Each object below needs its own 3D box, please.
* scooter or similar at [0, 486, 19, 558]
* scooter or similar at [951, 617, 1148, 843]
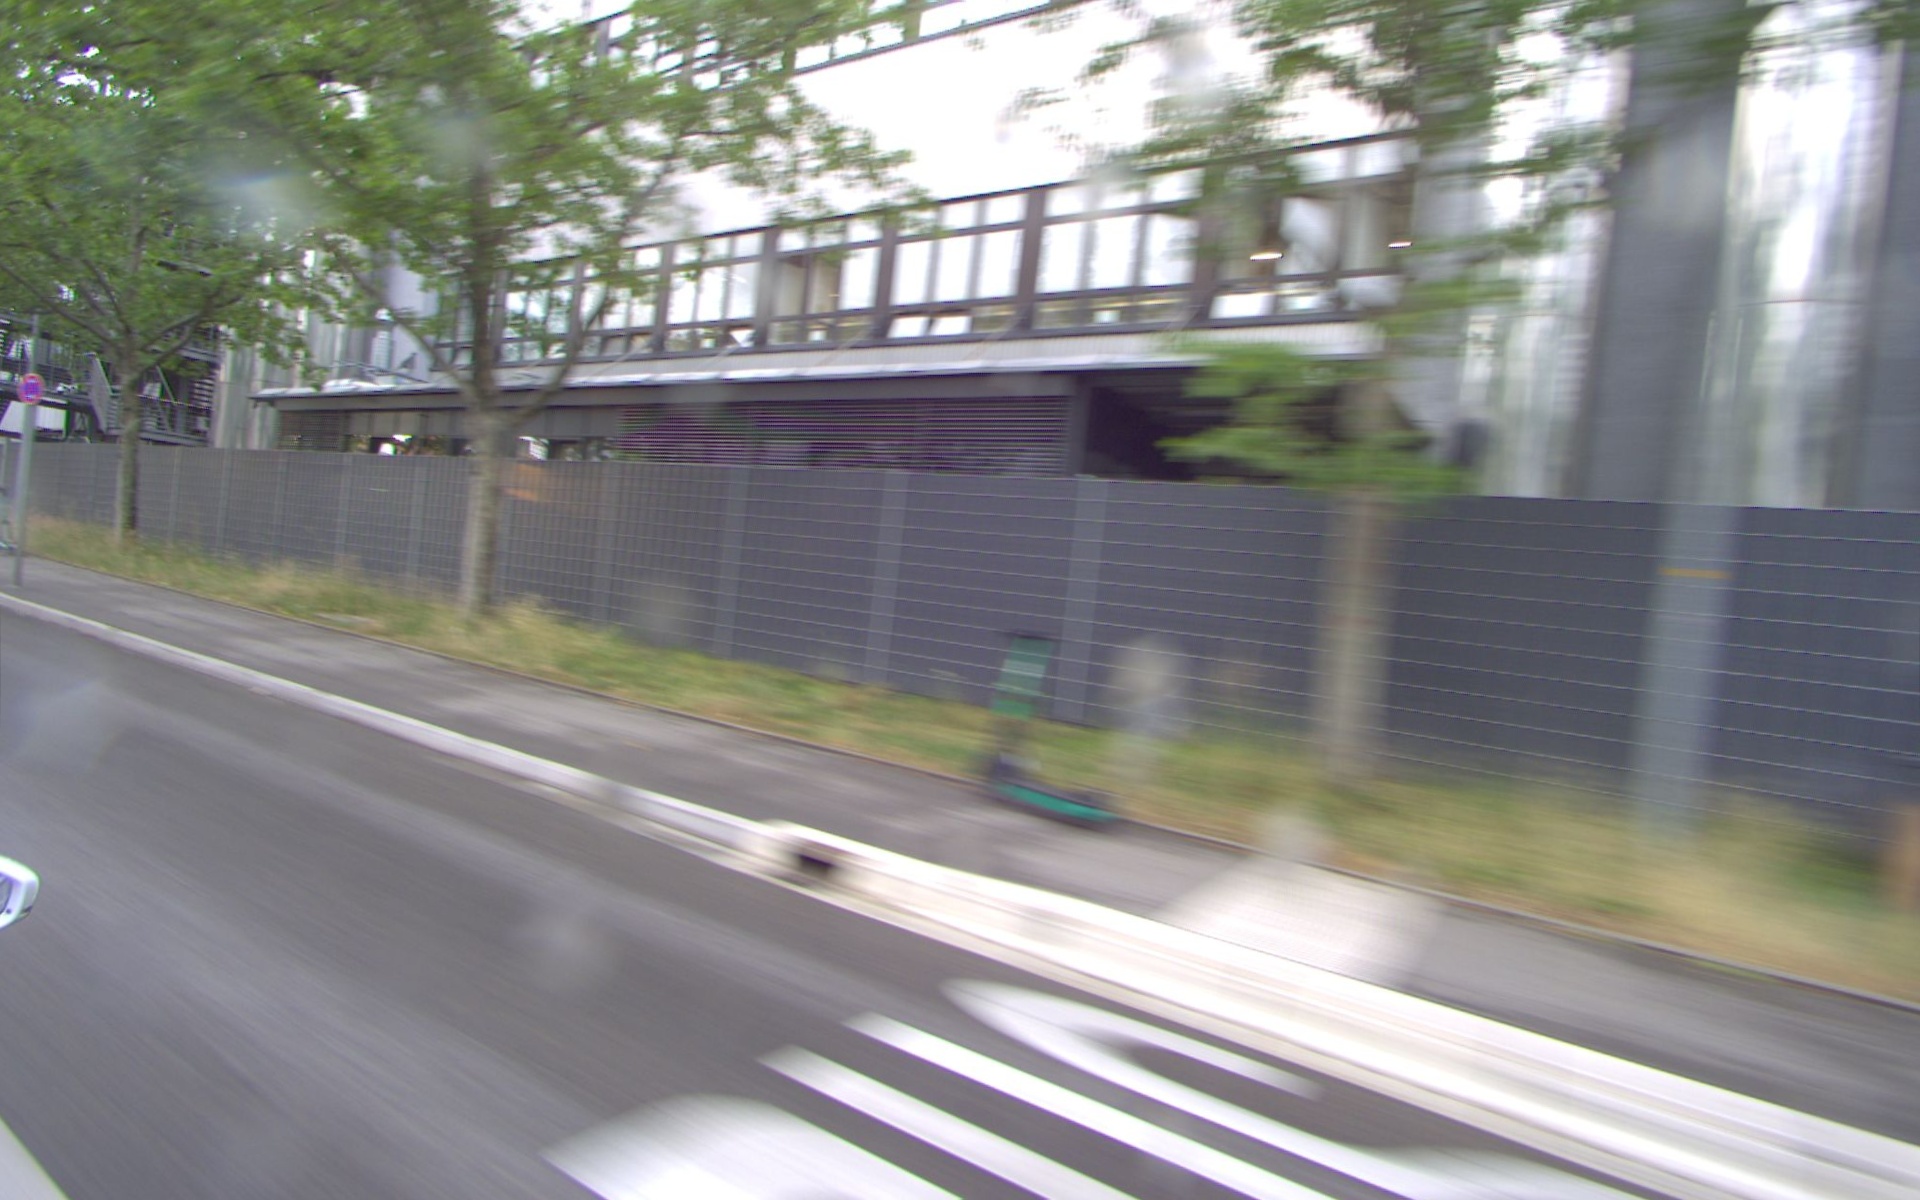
[{"bbox_3d":[-17.984,-1.481,18.850,1.093,1.285,0.328,8,2,41],"label":"scooter or similar"},{"bbox_3d":[0.594,0.854,6.953,1.226,1.325,0.328,7,2,37],"label":"scooter or similar"}]
